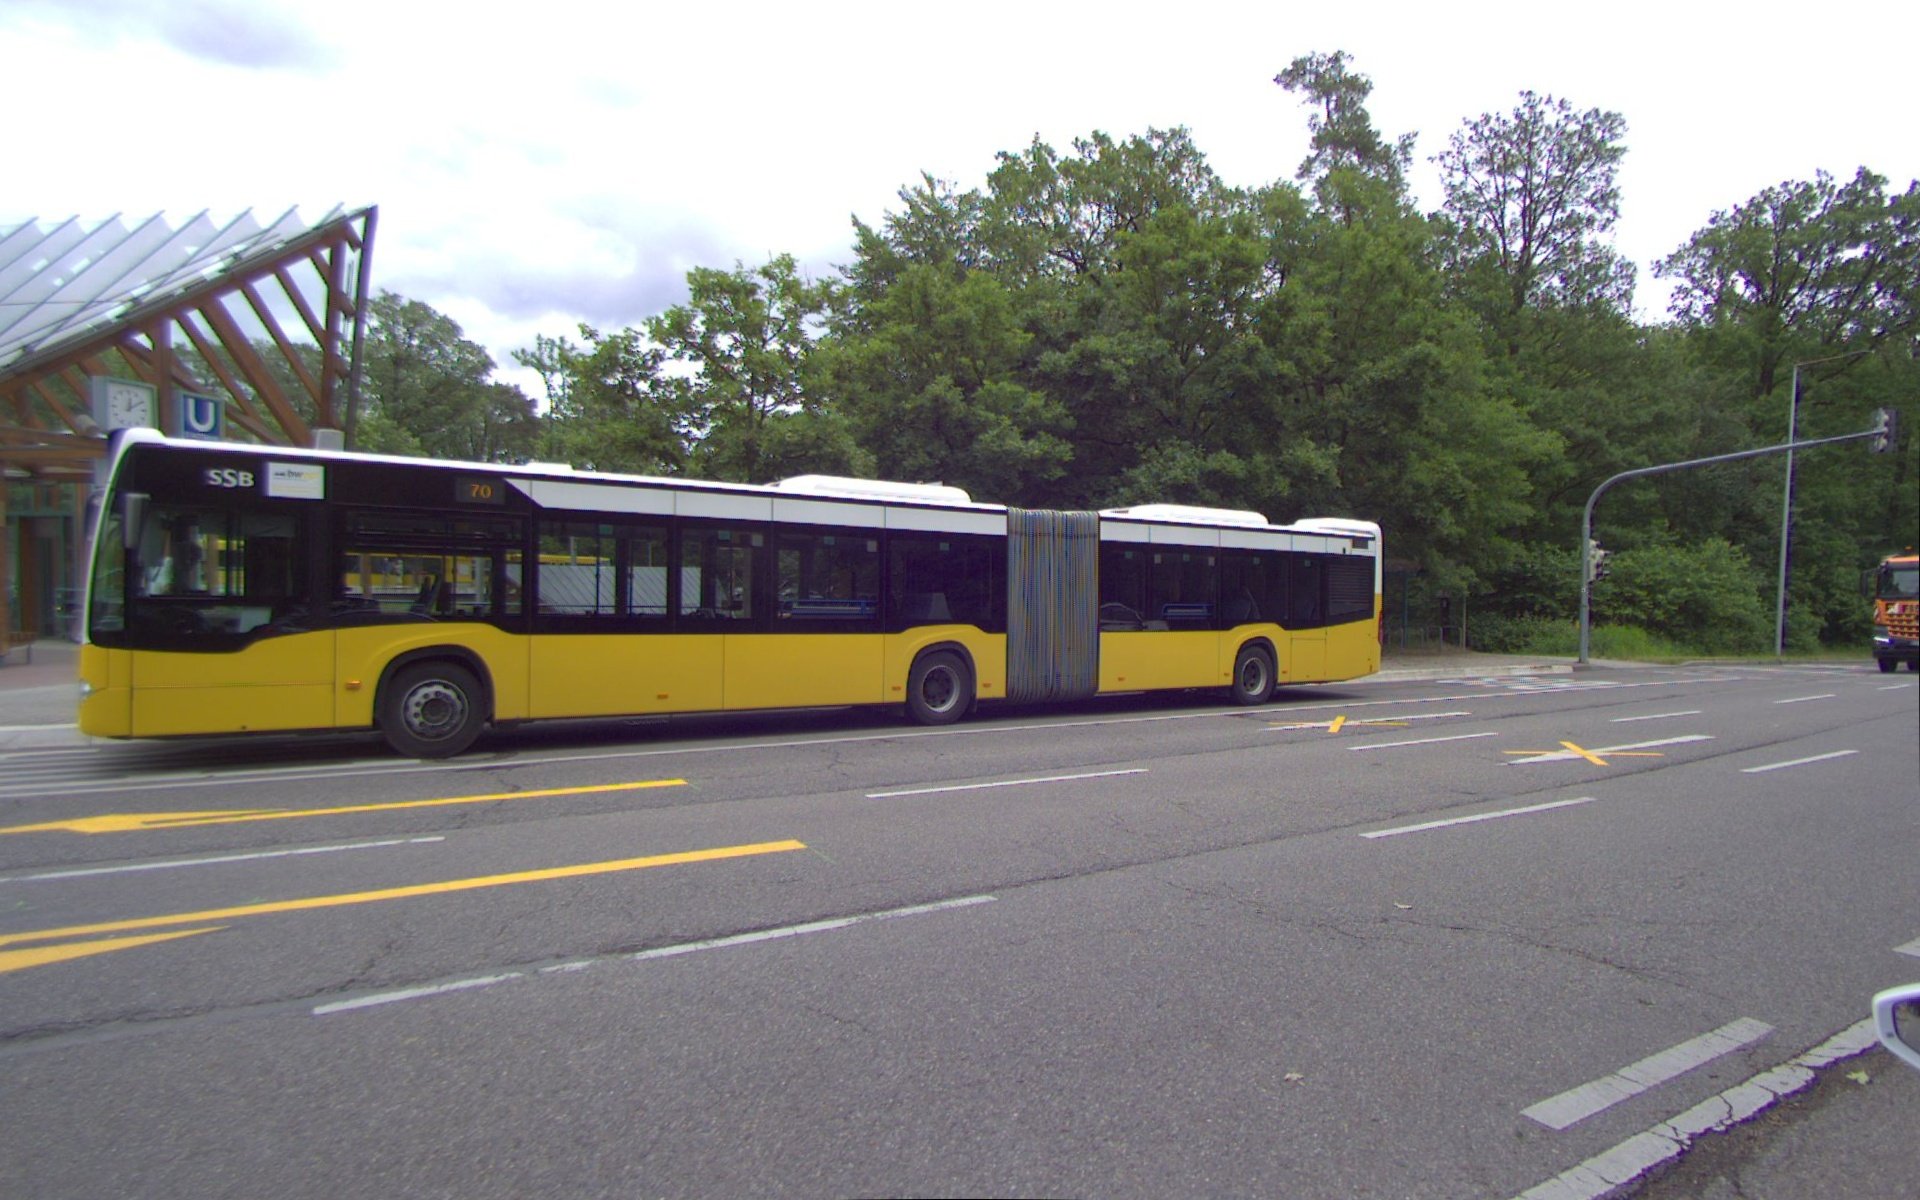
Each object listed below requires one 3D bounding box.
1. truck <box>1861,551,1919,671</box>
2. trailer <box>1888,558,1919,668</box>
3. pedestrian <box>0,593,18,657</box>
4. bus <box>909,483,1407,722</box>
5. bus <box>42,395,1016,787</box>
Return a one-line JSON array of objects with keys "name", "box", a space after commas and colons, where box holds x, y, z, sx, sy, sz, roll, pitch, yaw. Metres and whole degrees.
[{"name": "truck", "box": [29.788, 0.396, 30.254, 7.095, 3.362, 2.718, 2, -2, -38]}, {"name": "trailer", "box": [33.121, 0.520, 32.842, 8.492, 3.362, 2.718, 2, -2, -38]}, {"name": "pedestrian", "box": [-15.460, 0.399, 15.920, 0.556, 0.997, 0.556, 0, 2, -14]}, {"name": "bus", "box": [3.594, 0.071, 16.871, 8.598, 3.169, 2.882, 1, 0, -32]}, {"name": "bus", "box": [-4.096, -0.035, 11.952, 9.652, 3.169, 2.882, 1, 0, -33]}]
